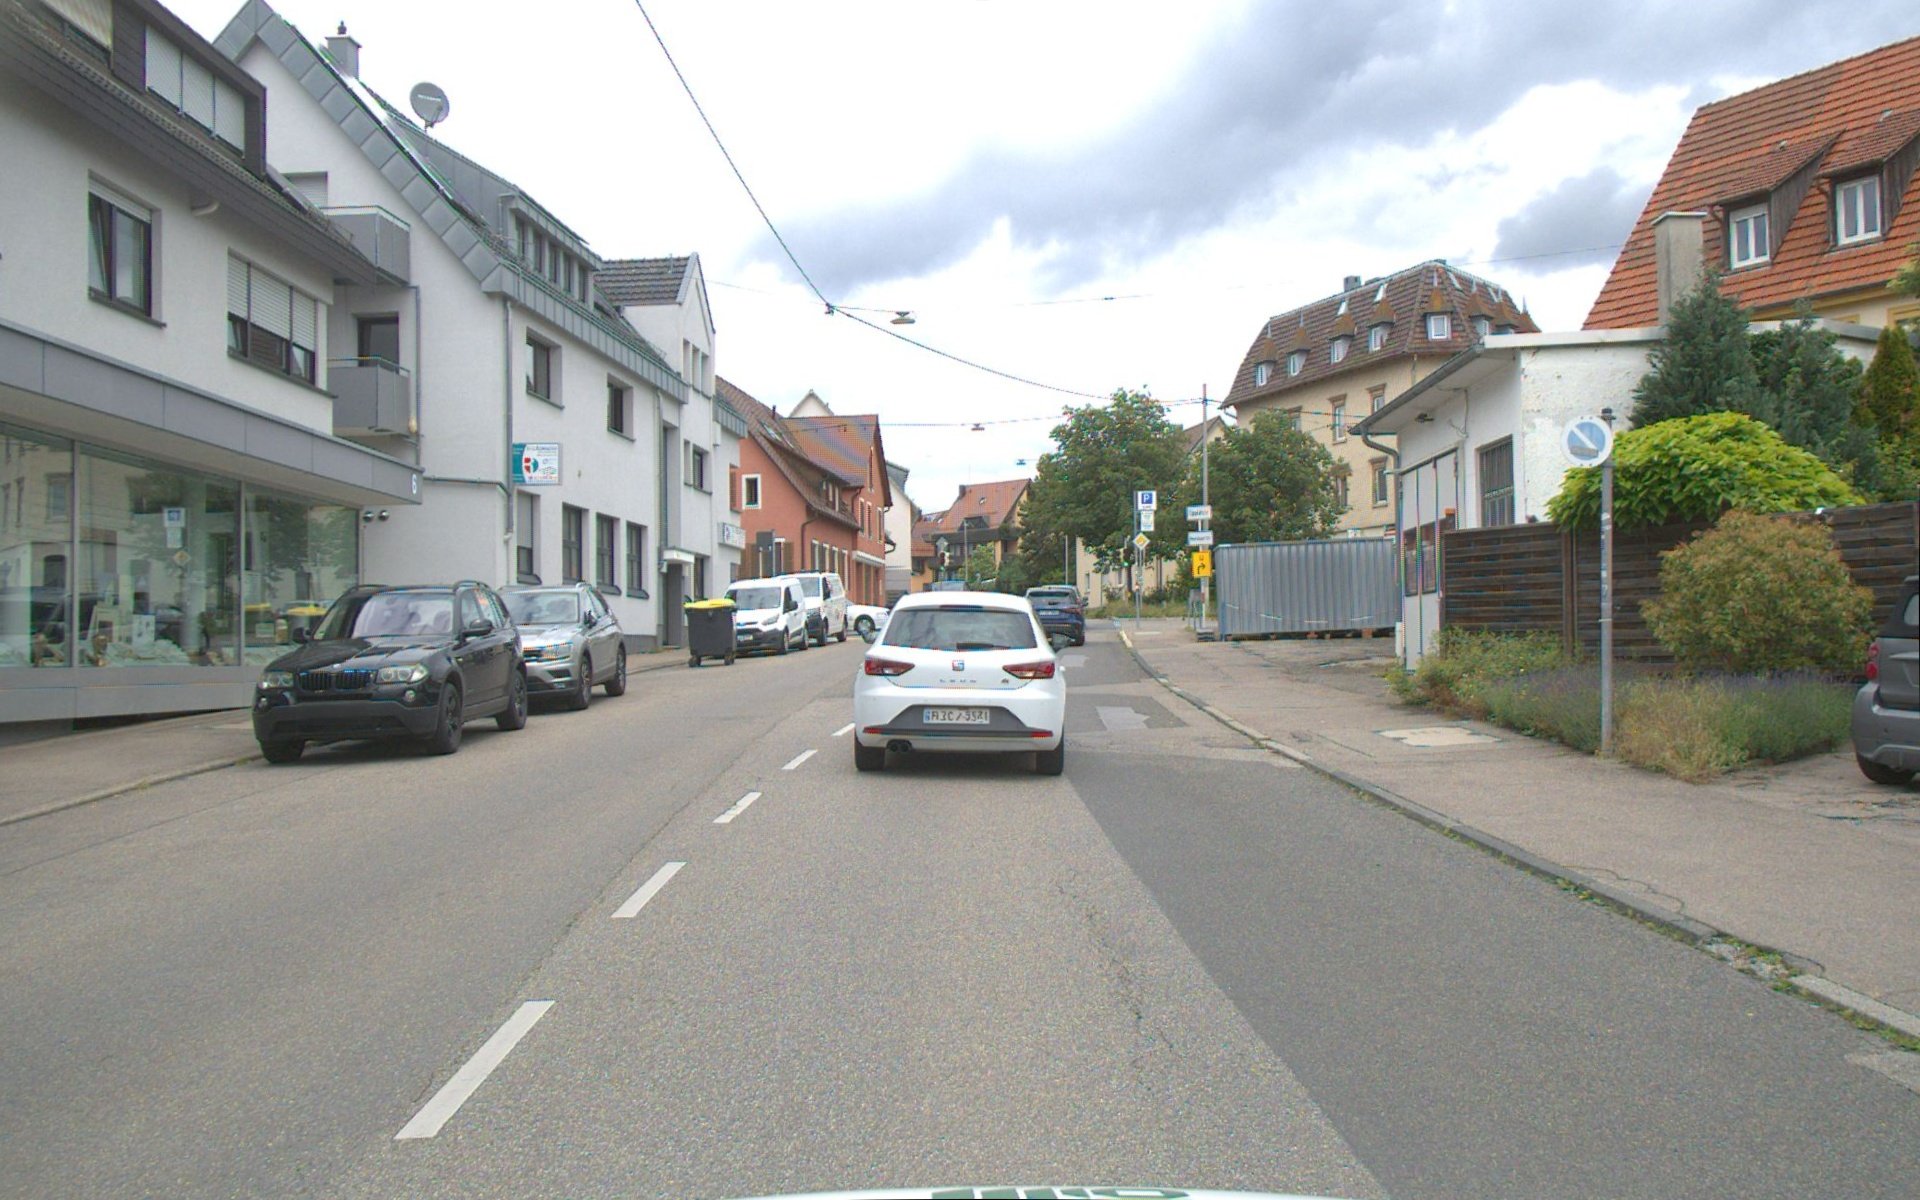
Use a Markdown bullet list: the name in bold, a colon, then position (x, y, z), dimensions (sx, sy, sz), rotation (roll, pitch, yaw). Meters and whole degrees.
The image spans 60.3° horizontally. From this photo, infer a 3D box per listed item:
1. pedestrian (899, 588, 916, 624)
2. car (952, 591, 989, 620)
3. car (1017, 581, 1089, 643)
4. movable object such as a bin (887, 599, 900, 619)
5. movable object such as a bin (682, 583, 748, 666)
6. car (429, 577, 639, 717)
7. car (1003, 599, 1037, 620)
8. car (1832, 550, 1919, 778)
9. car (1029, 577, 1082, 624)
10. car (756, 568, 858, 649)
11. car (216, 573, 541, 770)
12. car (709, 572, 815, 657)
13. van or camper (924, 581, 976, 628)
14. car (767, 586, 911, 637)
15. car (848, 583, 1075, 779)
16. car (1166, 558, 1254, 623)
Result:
- **pedestrian**: position (-2.690, 0.285, 84.369), dimensions (0.783, 1.816, 0.893), rotation (0, 0, 4)
- **car**: position (0.610, 0.353, 99.902), dimensions (1.958, 1.662, 4.854), rotation (0, -1, -3)
- **car**: position (2.343, 0.332, 42.134), dimensions (1.722, 1.477, 4.001), rotation (-1, -1, 2)
- **movable object such as a bin**: position (-3.578, 0.469, 88.903), dimensions (0.652, 1.036, 0.795), rotation (-1, 0, 1)
- **movable object such as a bin**: position (-5.079, 0.491, 34.382), dimensions (1.117, 1.661, 1.562), rotation (-2, 0, -2)
- **car**: position (-5.698, 0.563, 22.677), dimensions (1.800, 1.661, 4.407), rotation (-2, 1, -2)
- **car**: position (4.523, 0.719, 124.900), dimensions (1.726, 1.477, 3.990), rotation (2, -2, -10)
- **car**: position (8.046, 0.384, 11.619), dimensions (3.266, 1.545, 1.693), rotation (-2, 1, -22)
- **car**: position (3.212, 0.051, 55.887), dimensions (1.721, 1.477, 4.001), rotation (-1, -1, 3)
- **car**: position (-4.169, 0.190, 45.790), dimensions (1.774, 2.040, 4.767), rotation (-3, 0, 6)
- **car**: position (-5.699, 0.615, 16.838), dimensions (1.800, 1.661, 4.407), rotation (-2, 1, -2)
- **car**: position (-4.764, 0.312, 40.355), dimensions (1.697, 1.863, 4.300), rotation (-3, 0, 4)
- **van or camper**: position (-0.442, 0.240, 80.023), dimensions (2.030, 2.041, 4.859), rotation (-3, -2, 4)
- **car**: position (-4.023, 0.379, 55.378), dimensions (4.456, 1.470, 2.002), rotation (-3, 0, 8)
- **car**: position (0.124, 0.622, 14.605), dimensions (1.721, 1.477, 4.002), rotation (-1, 0, 3)
- **car**: position (7.370, -0.283, 49.127), dimensions (1.711, 1.770, 4.570), rotation (-3, 1, -2)
